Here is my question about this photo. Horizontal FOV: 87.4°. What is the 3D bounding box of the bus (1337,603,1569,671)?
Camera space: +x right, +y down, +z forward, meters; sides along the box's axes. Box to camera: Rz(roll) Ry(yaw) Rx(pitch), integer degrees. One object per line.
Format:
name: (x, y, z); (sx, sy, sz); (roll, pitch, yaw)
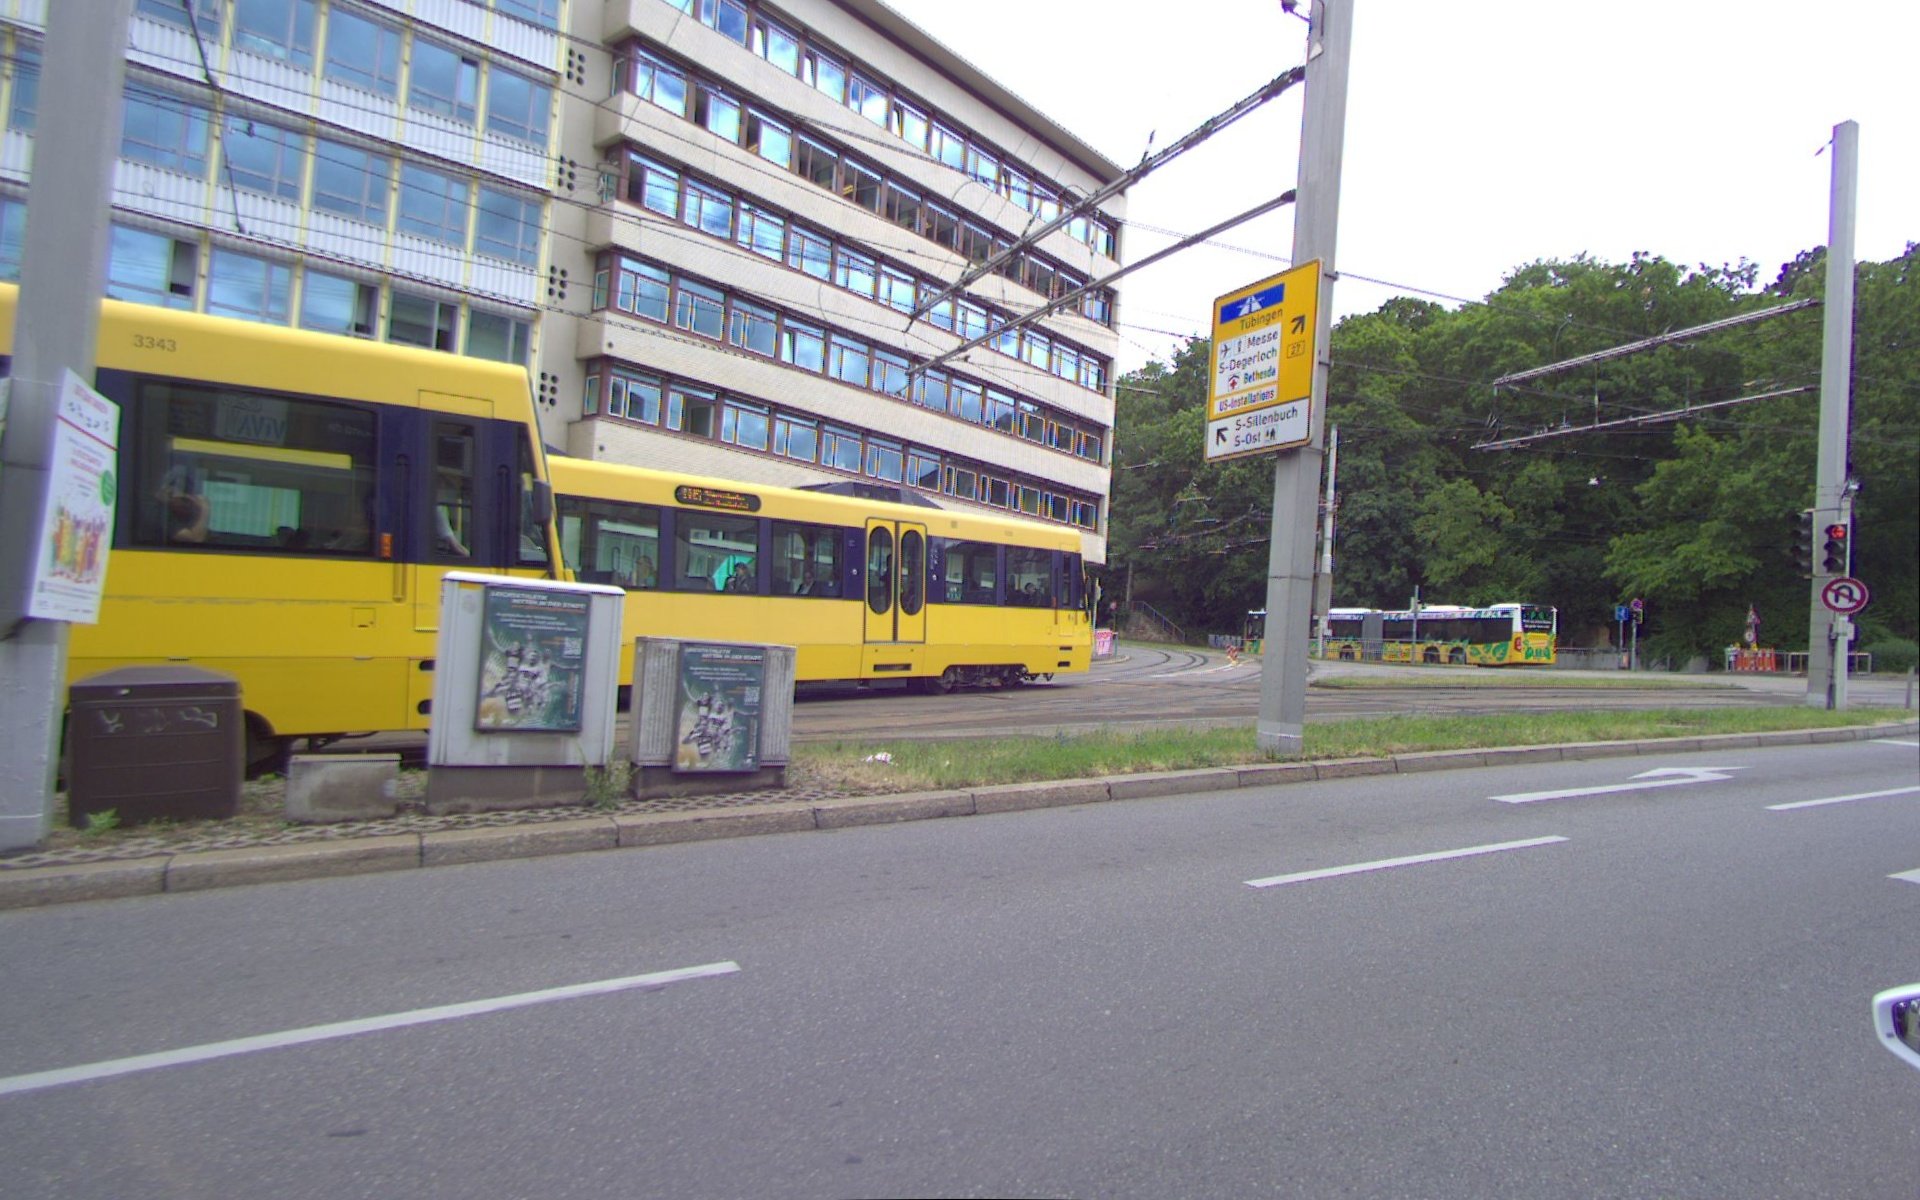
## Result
bus: (24.751, 1.834, 51.535); (3.341, 3.069, 11.490); (1, -2, -22)

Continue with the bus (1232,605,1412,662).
bus: (21.201, 1.989, 60.000); (3.278, 3.083, 11.297); (1, -2, -24)

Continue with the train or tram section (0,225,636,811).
train or tram section: (-9.498, -0.635, 5.695); (14.332, 3.712, 2.863); (3, -1, -35)

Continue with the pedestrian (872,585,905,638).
pedestrian: (-2.396, 0.398, 33.647); (0.778, 1.730, 0.751); (2, -1, -42)
